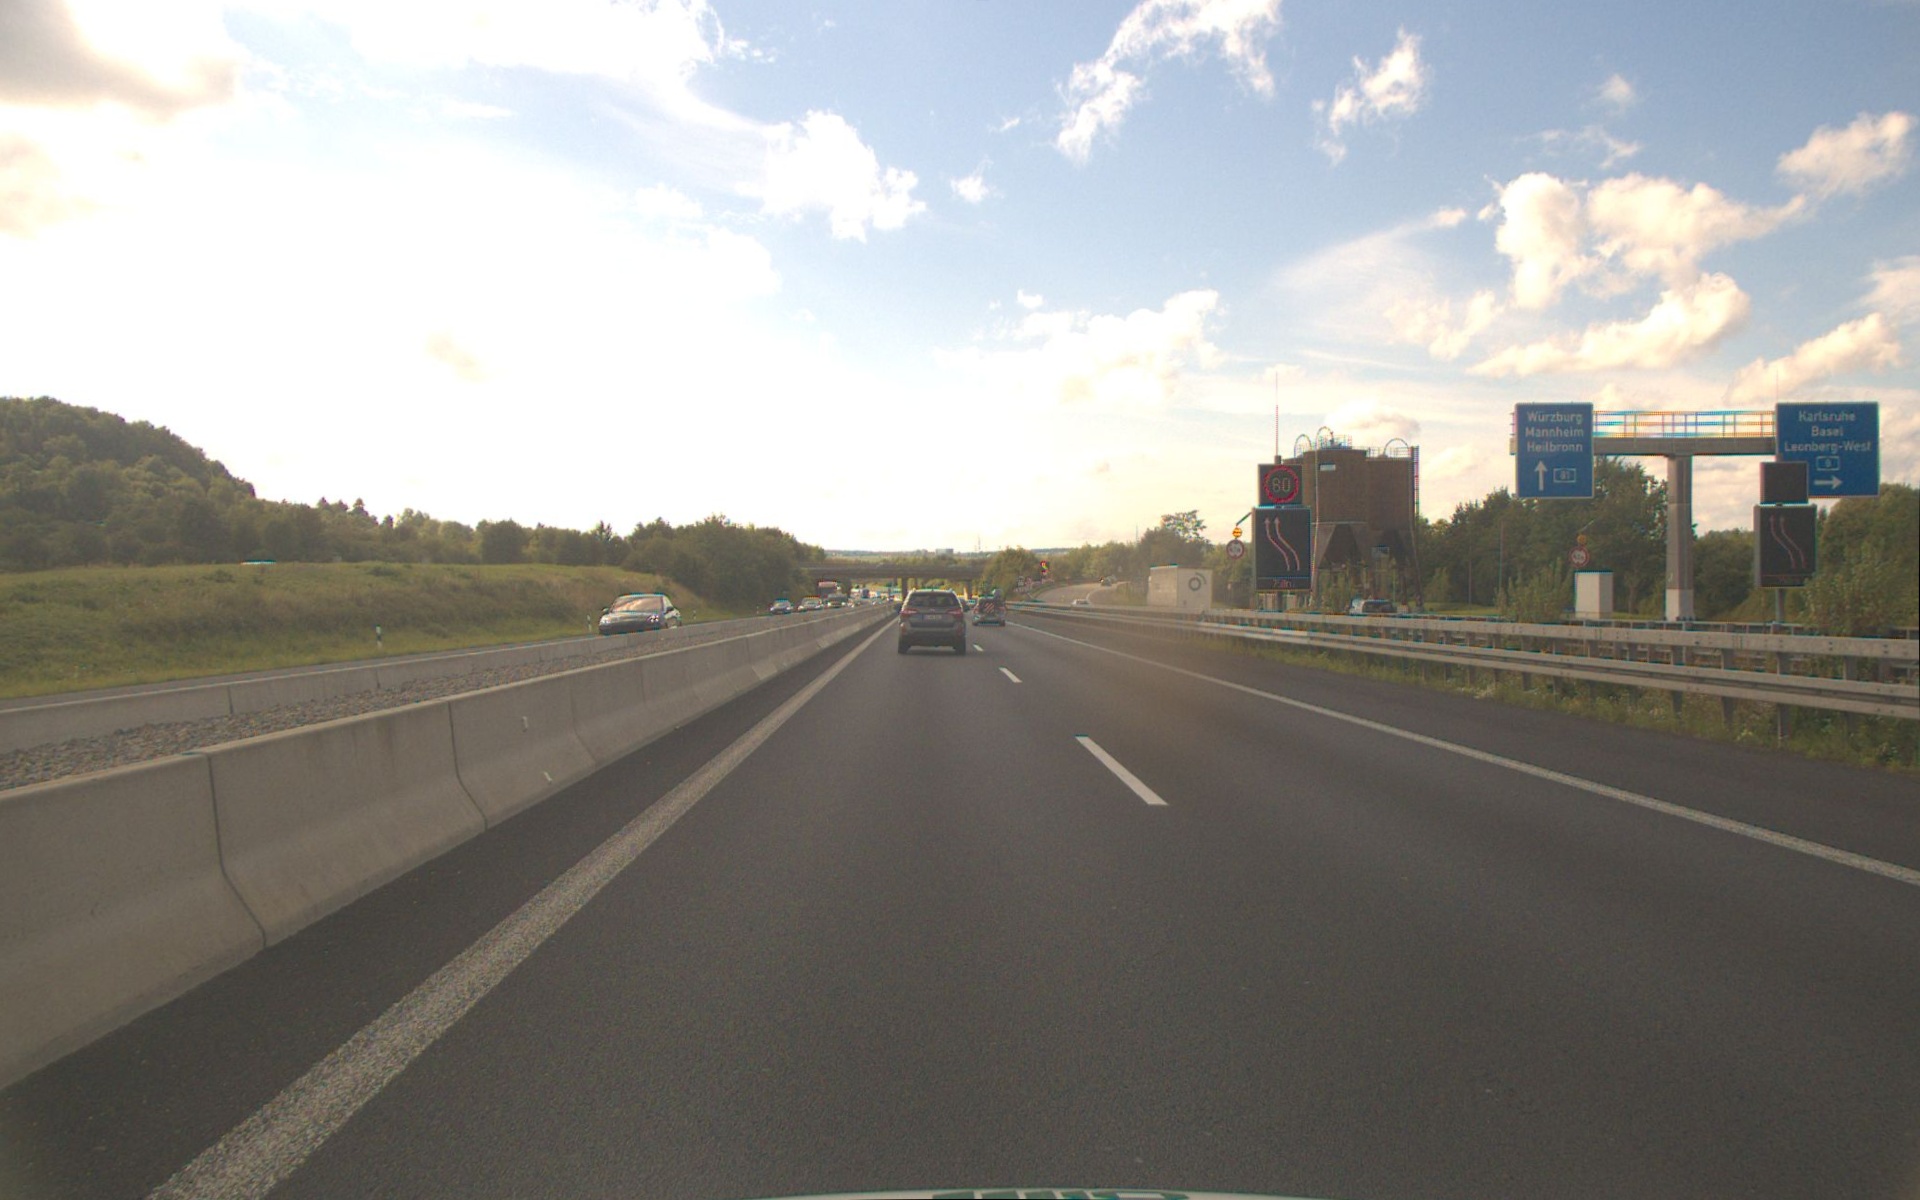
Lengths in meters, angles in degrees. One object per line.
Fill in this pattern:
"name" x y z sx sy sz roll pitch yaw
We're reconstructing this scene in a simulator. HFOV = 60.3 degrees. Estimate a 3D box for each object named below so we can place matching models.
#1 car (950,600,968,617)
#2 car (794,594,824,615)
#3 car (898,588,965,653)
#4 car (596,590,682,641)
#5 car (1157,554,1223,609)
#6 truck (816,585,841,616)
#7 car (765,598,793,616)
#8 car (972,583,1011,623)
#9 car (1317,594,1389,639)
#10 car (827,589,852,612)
"car" -0.160 0.972 188.127 1.935 1.810 4.119 -2 0 -1
"car" -12.046 0.351 132.258 1.953 1.600 5.364 -2 0 0
"car" -0.732 0.540 45.175 1.714 1.659 3.609 -2 0 0
"car" -9.575 0.449 49.621 1.751 1.422 4.622 -2 0 -1
"car" 16.709 -1.295 120.549 3.504 3.741 7.547 -2 0 -1
"truck" -17.589 0.029 221.674 2.682 3.993 6.900 -2 0 0
"car" -15.832 0.617 144.606 1.953 1.504 4.691 -2 0 0
"car" 1.744 0.146 92.002 1.953 2.117 3.999 -2 0 -1
"car" 16.386 0.670 69.158 1.953 1.747 3.999 -2 0 -1
"car" -11.543 0.057 158.642 1.953 2.049 5.840 -2 0 0
